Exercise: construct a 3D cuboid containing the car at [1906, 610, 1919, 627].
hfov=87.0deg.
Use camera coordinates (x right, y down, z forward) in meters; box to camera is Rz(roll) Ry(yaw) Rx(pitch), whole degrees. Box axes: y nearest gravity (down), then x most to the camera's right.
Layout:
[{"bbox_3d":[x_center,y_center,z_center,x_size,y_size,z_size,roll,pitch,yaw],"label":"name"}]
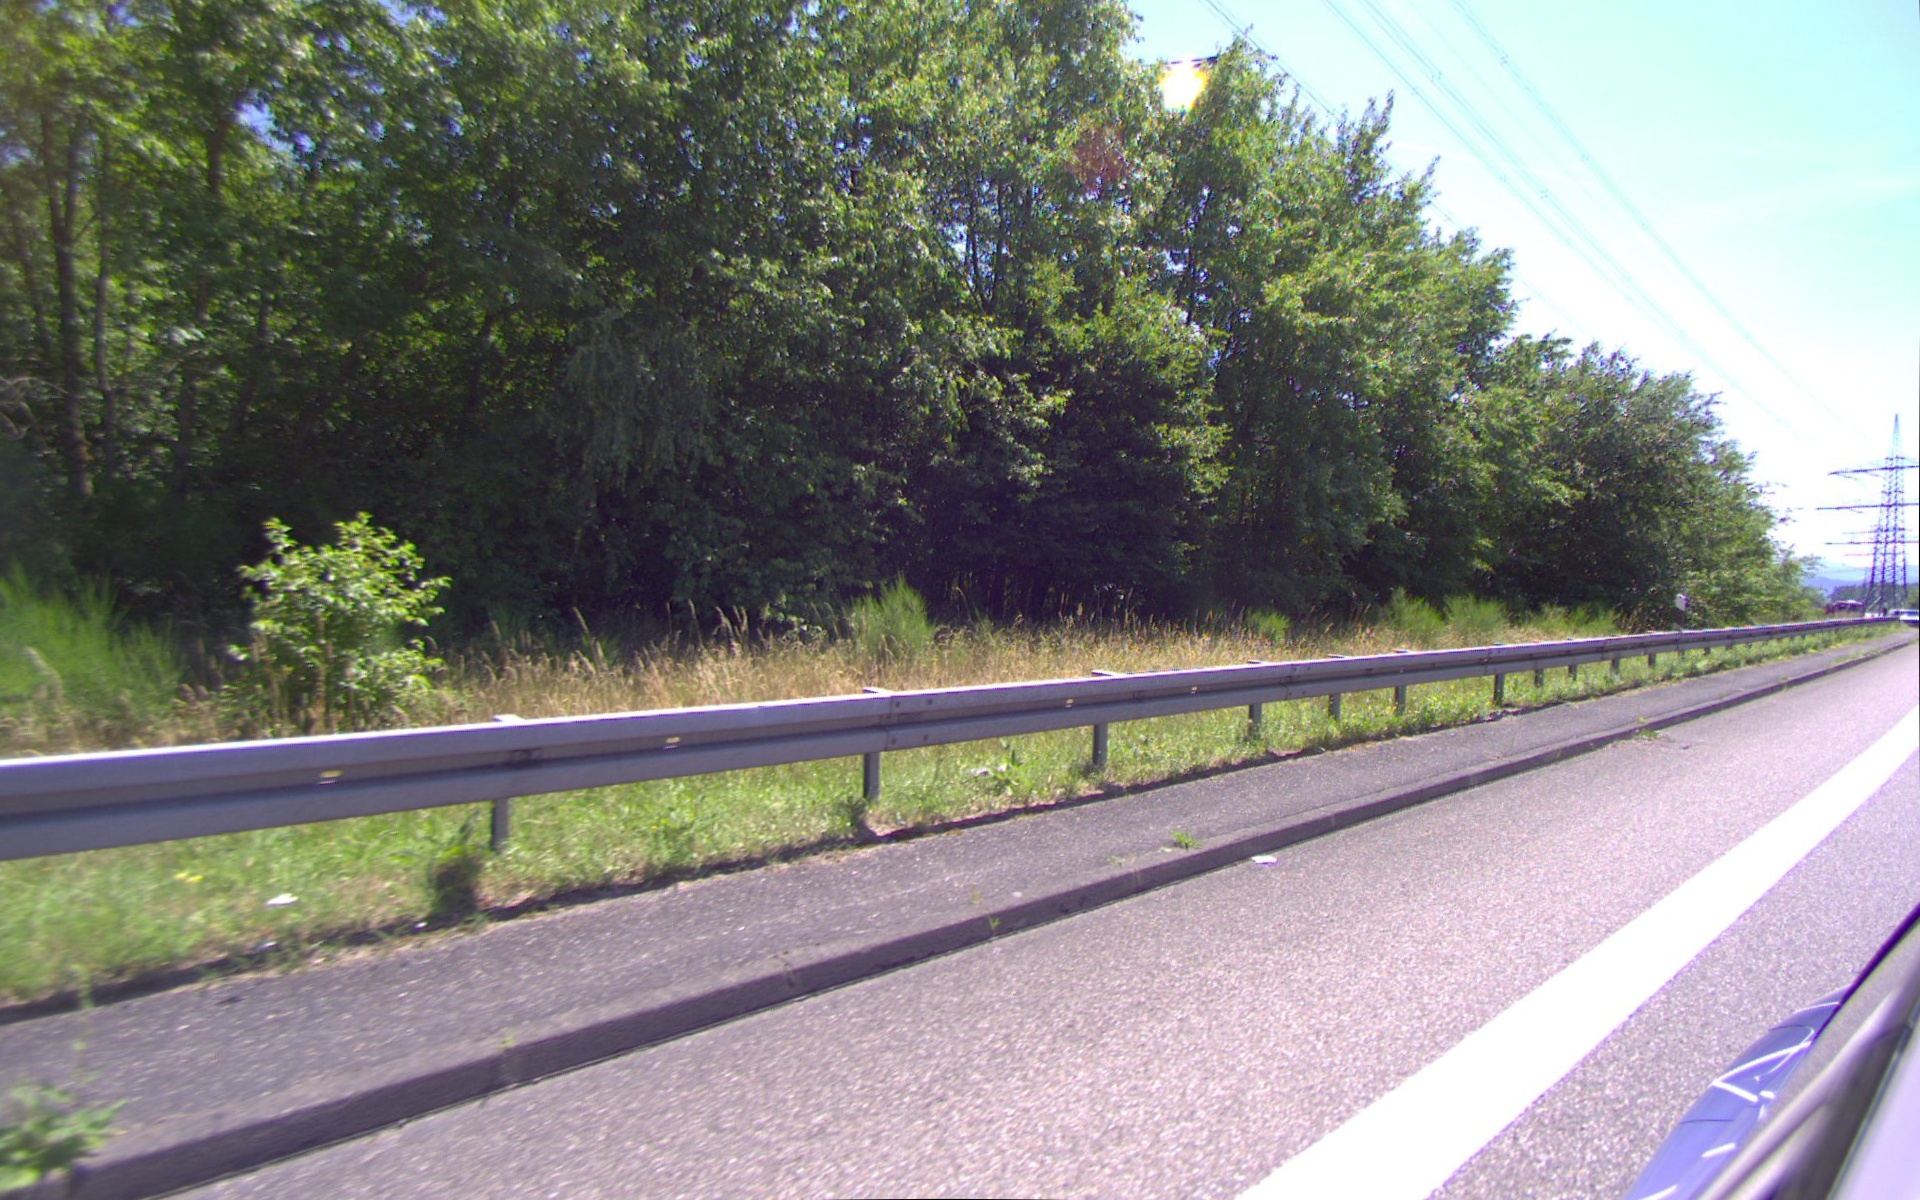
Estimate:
[{"bbox_3d":[101.288,1.938,106.675,1.991,1.705,3.941,1,0,40],"label":"car"}]
